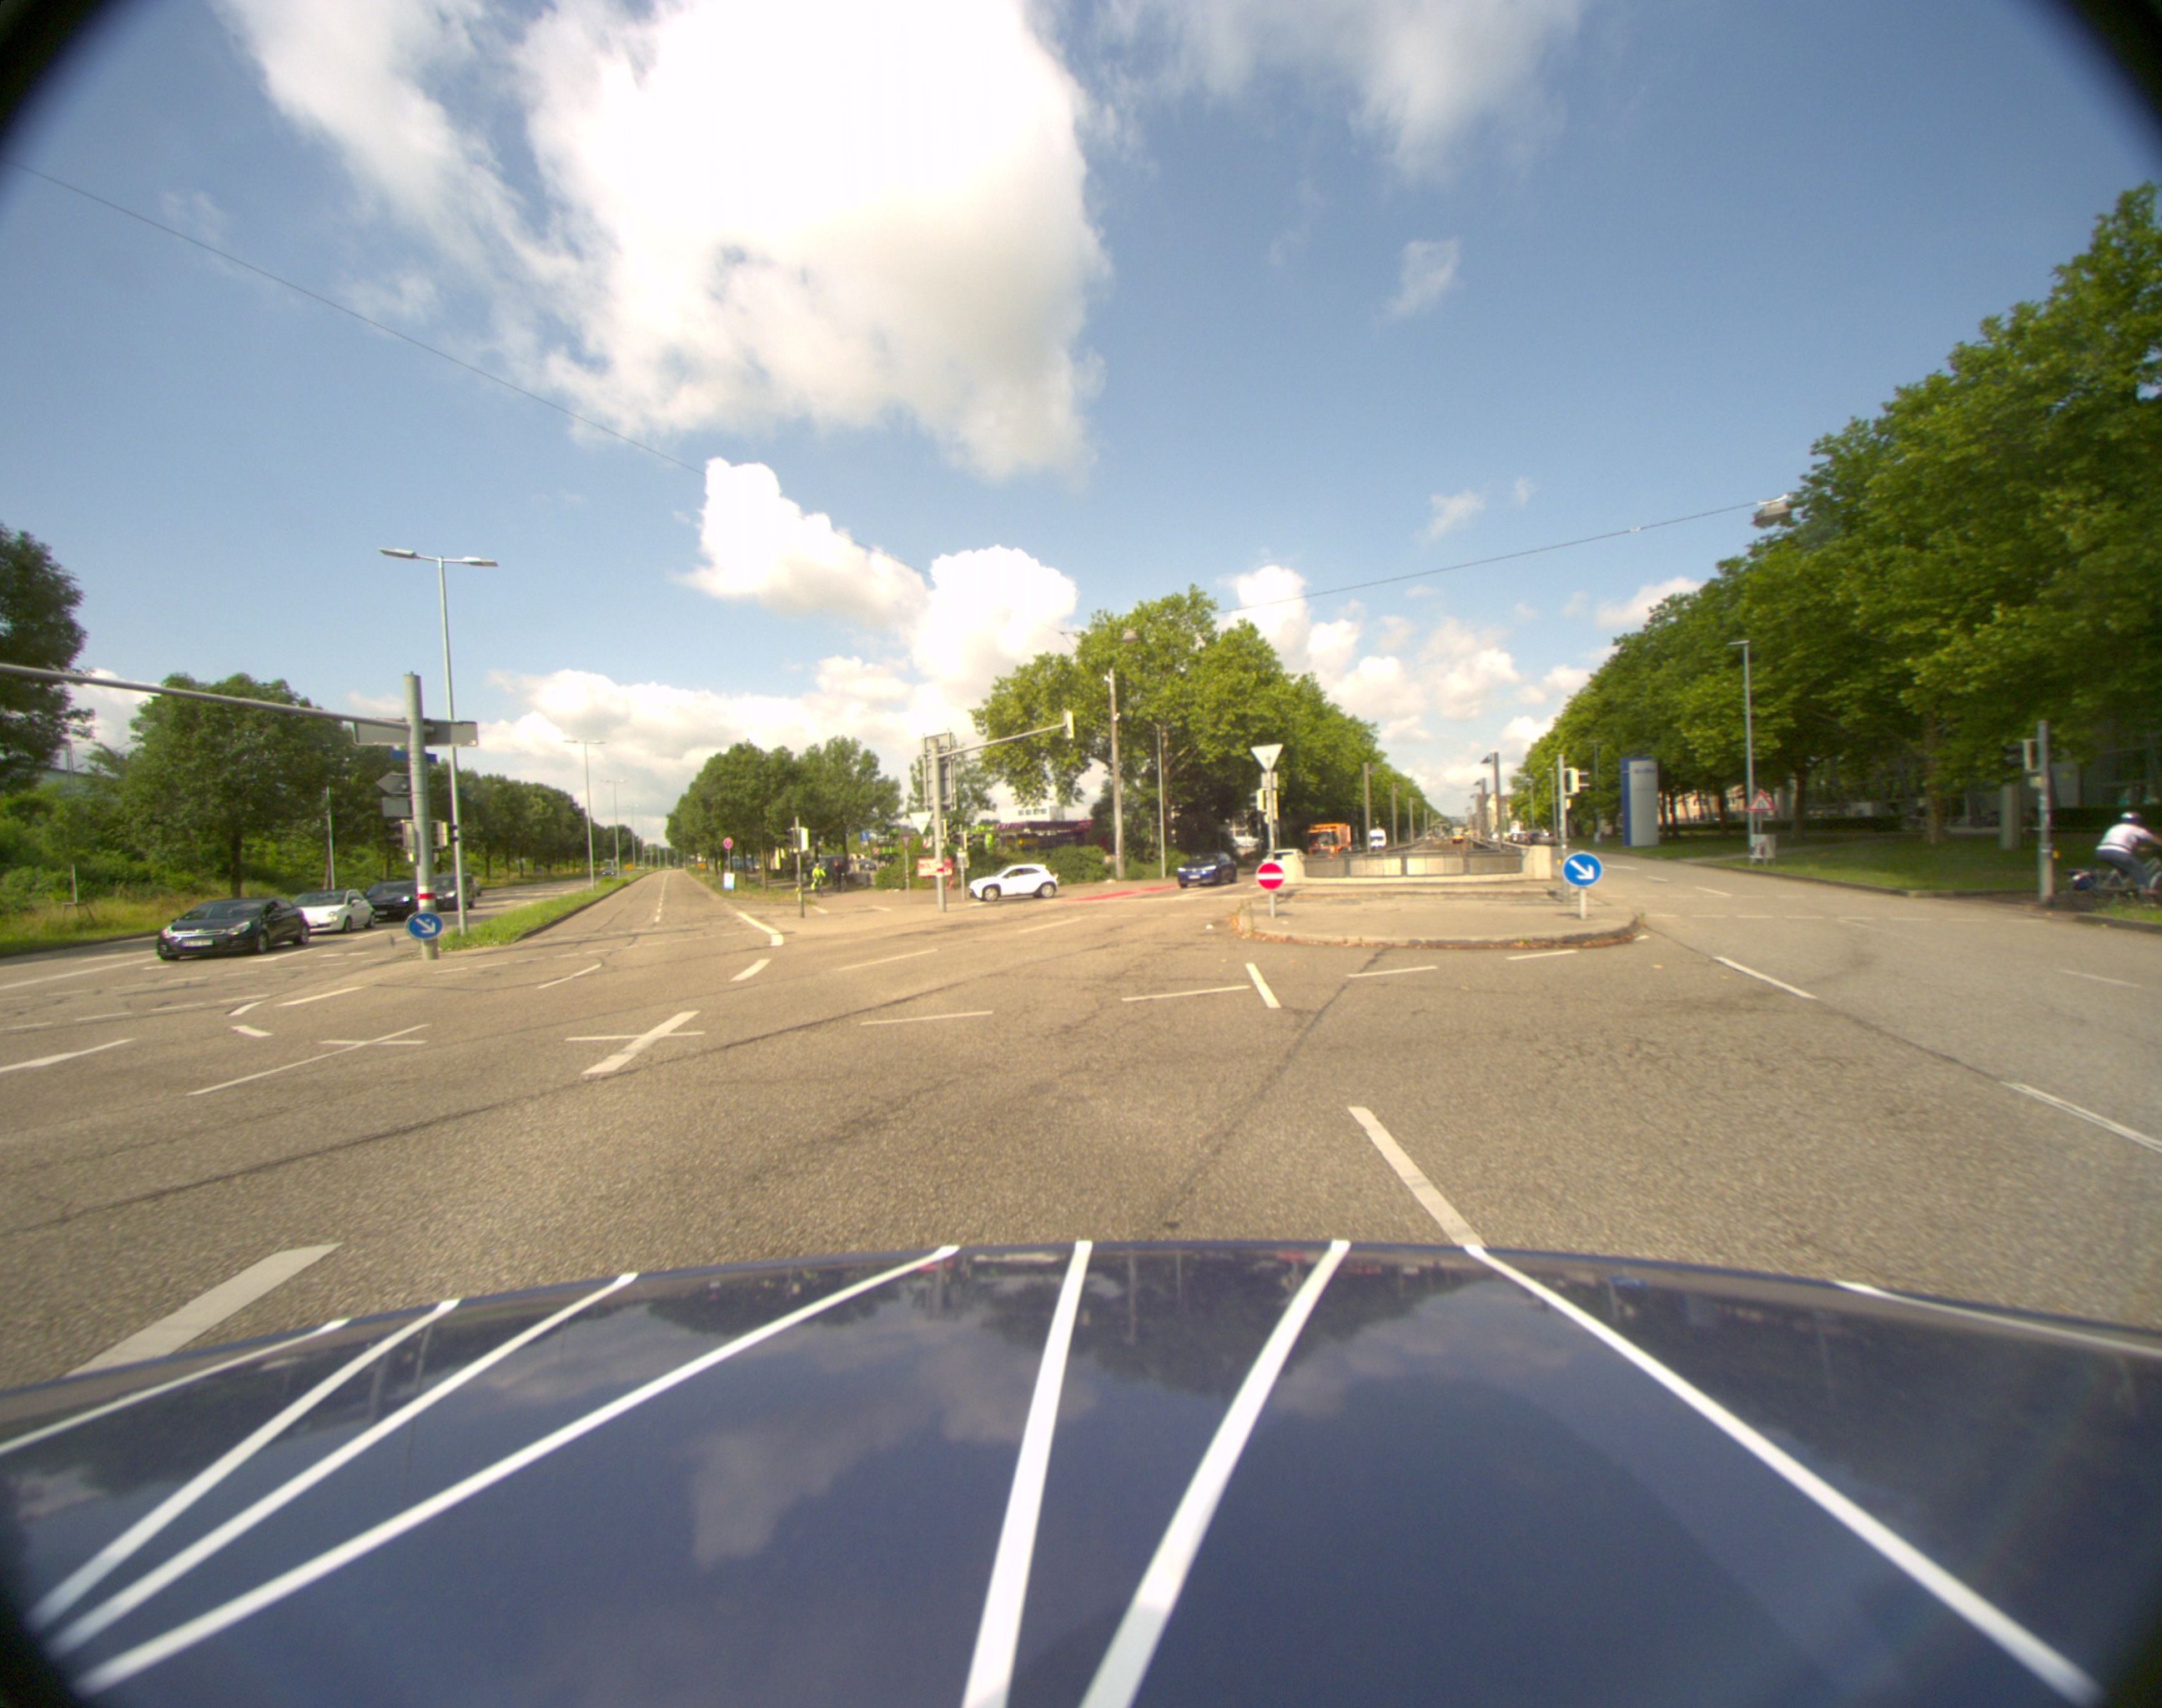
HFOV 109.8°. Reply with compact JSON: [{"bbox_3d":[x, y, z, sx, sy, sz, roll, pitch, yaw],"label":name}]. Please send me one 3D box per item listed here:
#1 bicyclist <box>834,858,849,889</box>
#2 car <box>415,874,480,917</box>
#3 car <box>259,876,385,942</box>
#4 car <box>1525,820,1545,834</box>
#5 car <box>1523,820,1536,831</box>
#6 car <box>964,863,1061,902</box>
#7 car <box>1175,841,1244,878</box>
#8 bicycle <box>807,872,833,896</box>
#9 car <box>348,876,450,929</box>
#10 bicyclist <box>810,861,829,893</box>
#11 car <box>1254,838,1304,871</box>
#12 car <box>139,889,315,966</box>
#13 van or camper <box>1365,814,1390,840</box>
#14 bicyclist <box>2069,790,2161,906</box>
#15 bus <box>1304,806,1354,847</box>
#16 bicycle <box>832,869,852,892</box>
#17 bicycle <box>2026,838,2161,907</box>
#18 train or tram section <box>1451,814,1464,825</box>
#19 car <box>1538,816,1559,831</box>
[{"bbox_3d":[-13.754,1.114,43.658,0.678,1.677,0.753,-4,2,-24],"label":"bicyclist"},{"bbox_3d":[-31.377,2.005,37.760,1.646,1.626,4.194,2,3,-28],"label":"car"},{"bbox_3d":[-25.486,1.763,25.702,1.980,1.739,4.013,1,2,-29],"label":"car"},{"bbox_3d":[50.377,-3.003,84.335,1.579,1.426,3.162,4,2,26],"label":"car"},{"bbox_3d":[55.606,-3.519,94.229,1.178,1.236,2.554,3,2,26],"label":"car"},{"bbox_3d":[-2.959,1.192,32.726,3.802,1.470,1.748,-2,-1,-20],"label":"car"},{"bbox_3d":[6.189,0.214,36.157,1.888,1.566,4.587,-2,1,27],"label":"car"},{"bbox_3d":[-14.107,1.614,41.031,0.679,1.189,2.227,-4,2,-35],"label":"bicycle"},{"bbox_3d":[-28.246,1.949,31.671,1.823,1.634,4.790,2,3,-25],"label":"car"},{"bbox_3d":[-14.120,1.246,41.042,0.679,1.670,0.835,-4,3,-36],"label":"bicyclist"},{"bbox_3d":[9.664,-0.022,36.880,1.734,1.477,3.607,-1,1,25],"label":"car"},{"bbox_3d":[-22.269,1.837,20.024,1.744,1.510,3.819,0,2,-26],"label":"car"},{"bbox_3d":[34.631,-3.096,88.655,2.159,2.770,5.976,2,2,25],"label":"van or camper"},{"bbox_3d":[18.360,-0.117,13.464,0.729,2.003,0.604,2,3,20],"label":"bicyclist"},{"bbox_3d":[22.893,-2.452,69.843,2.739,3.446,10.413,2,2,27],"label":"bus"},{"bbox_3d":[-13.800,1.518,43.795,0.793,1.189,2.228,-4,2,-24],"label":"bicycle"},{"bbox_3d":[18.569,0.308,13.415,2.177,1.080,0.888,-4,0,20],"label":"bicycle"},{"bbox_3d":[89.705,-8.296,181.048,2.212,2.444,6.258,2,1,21],"label":"train or tram section"},{"bbox_3d":[48.126,-3.153,78.259,1.417,1.448,3.162,4,2,26],"label":"car"}]
